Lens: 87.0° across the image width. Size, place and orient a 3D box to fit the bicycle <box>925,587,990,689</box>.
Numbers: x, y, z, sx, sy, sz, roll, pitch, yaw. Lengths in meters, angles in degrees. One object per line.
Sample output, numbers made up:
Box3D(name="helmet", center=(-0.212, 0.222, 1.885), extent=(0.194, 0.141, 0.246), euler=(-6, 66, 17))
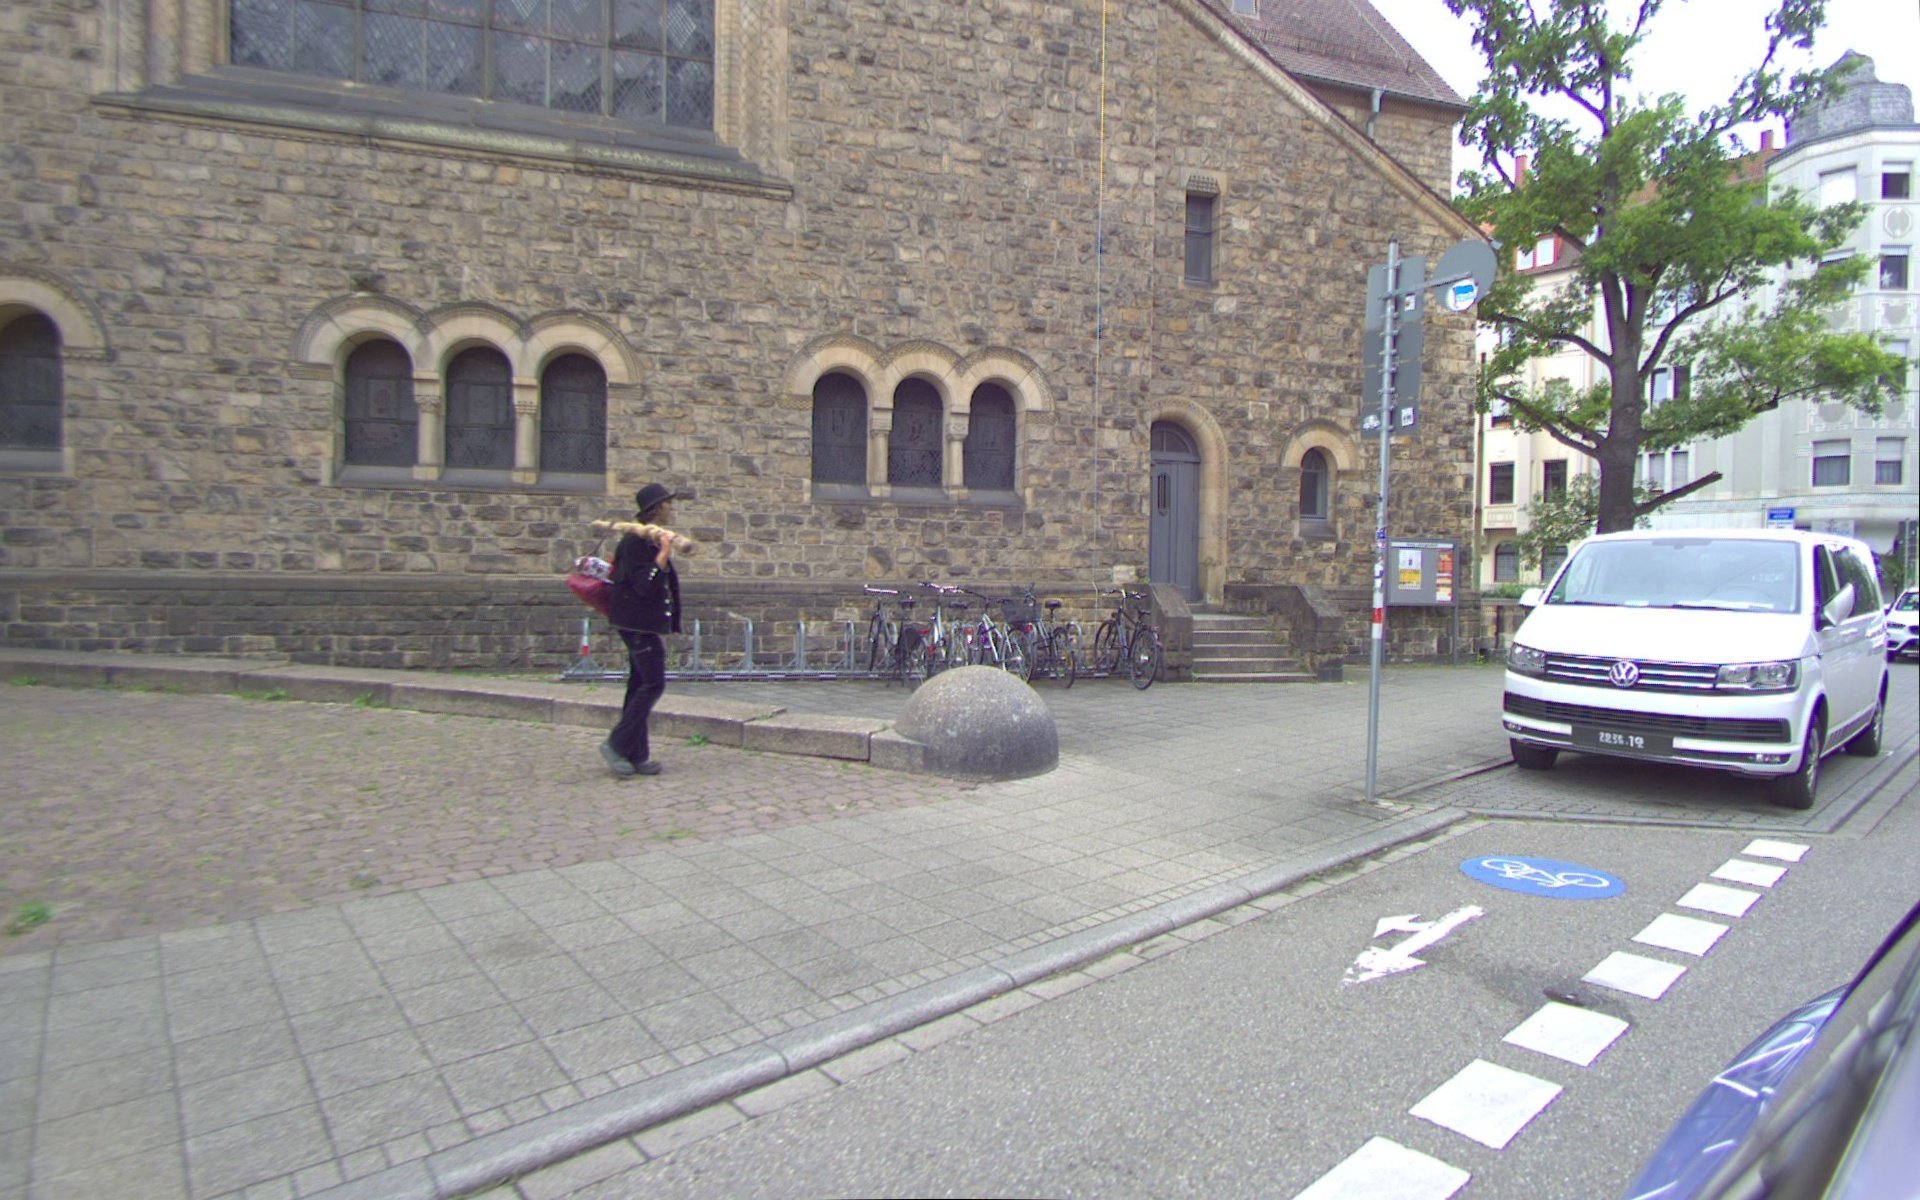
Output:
Box3D(name="bicycle", center=(-0.048, 0.399, 11.542), extent=(0.304, 1.073, 1.387), euler=(1, 1, -18))

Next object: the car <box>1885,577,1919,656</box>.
Box3D(name="car", center=(21.057, 0.326, 21.343), extent=(3.930, 1.585, 1.819), euler=(0, 2, -41))

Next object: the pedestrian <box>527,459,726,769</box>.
Box3D(name="pedestrian", center=(-2.170, 0.099, 6.618), extent=(0.998, 1.831, 0.818), euler=(6, -1, -19))

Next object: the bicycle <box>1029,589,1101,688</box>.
Box3D(name="bicycle", center=(1.208, 0.423, 11.850), extent=(0.304, 1.073, 1.346), euler=(1, 1, -18))

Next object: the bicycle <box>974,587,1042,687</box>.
Box3D(name="bicycle", center=(0.540, 0.397, 11.831), extent=(0.304, 1.073, 1.387), euler=(1, 1, -18))

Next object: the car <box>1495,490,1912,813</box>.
Box3D(name="car", center=(6.436, 0.275, 8.475), extent=(5.075, 1.944, 1.808), euler=(0, 2, -42))

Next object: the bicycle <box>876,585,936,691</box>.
Box3D(name="bicycle", center=(-0.616, 0.386, 11.185), extent=(0.304, 1.073, 1.387), euler=(1, 1, -18))

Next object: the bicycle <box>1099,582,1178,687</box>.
Box3D(name="bicycle", center=(2.094, 0.376, 12.008), extent=(0.304, 1.161, 1.346), euler=(1, 1, -18))
